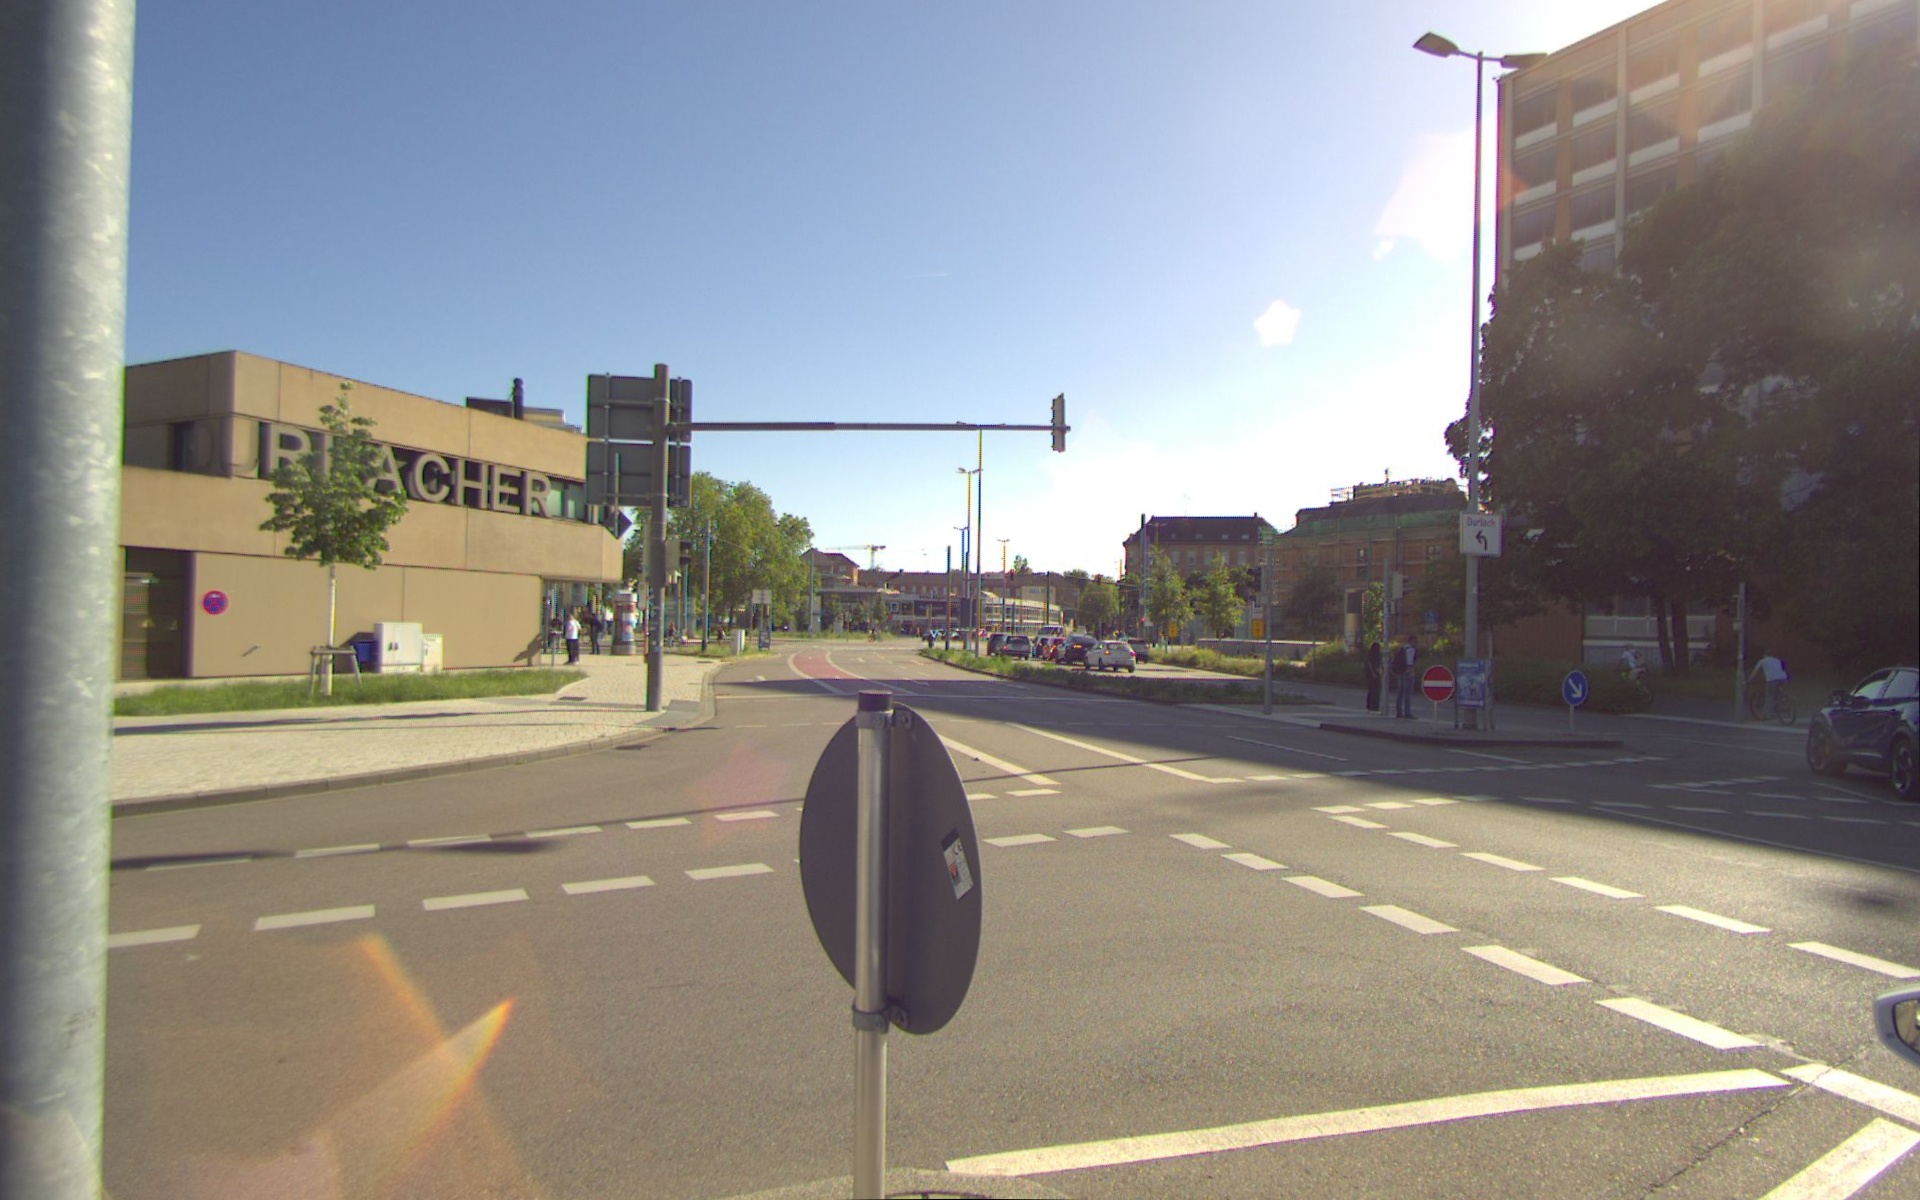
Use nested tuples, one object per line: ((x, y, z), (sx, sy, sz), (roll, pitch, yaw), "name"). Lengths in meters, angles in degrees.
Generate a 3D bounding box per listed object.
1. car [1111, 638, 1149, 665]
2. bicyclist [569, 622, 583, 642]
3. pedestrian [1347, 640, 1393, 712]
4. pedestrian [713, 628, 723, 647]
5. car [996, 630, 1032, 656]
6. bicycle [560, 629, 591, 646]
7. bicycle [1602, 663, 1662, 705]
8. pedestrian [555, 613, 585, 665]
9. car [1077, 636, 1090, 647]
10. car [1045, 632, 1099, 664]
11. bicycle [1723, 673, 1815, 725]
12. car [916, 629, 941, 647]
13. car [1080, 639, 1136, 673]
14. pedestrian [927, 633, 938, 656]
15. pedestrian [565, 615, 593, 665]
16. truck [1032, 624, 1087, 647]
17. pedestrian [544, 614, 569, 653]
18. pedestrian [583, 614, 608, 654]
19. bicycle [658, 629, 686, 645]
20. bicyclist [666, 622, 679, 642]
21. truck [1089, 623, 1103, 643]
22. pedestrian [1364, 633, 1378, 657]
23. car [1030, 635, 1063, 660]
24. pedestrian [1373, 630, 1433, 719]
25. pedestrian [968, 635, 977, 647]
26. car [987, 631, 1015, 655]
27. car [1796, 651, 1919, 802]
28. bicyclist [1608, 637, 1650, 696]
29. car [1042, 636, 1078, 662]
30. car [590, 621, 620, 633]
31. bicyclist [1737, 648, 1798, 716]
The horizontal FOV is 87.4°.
((11.455, 3.453, 67.829), (1.846, 1.638, 3.625), (3, -2, -1), "car")
((-27.944, 2.330, 73.039), (0.762, 1.463, 0.643), (2, -2, -5), "bicyclist")
((9.508, 1.754, 23.300), (0.671, 1.633, 0.717), (2, -2, -17), "pedestrian")
((-19.114, 2.961, 79.336), (0.586, 1.427, 0.566), (2, 1, -22), "pedestrian")
((3.219, 2.563, 60.611), (1.698, 1.461, 3.797), (2, -2, -4), "car")
((-27.935, 2.709, 73.025), (1.920, 1.180, 0.643), (2, -2, -5), "bicycle")
((20.820, 2.580, 31.166), (0.733, 1.180, 1.871), (1, -1, 5), "bicycle")
((-13.494, 1.359, 34.760), (0.777, 1.745, 0.594), (-1, -4, 37), "pedestrian")
((21.553, 7.201, 175.053), (1.750, 1.565, 3.642), (2, 1, 12), "car")
((6.127, 2.626, 55.481), (1.953, 1.645, 4.373), (2, -2, -7), "car")
((20.440, 2.482, 25.430), (0.705, 1.180, 1.868), (1, -1, -7), "bicycle")
((-4.027, 4.823, 129.100), (1.960, 2.040, 4.001), (2, 1, 16), "car")
((7.062, 2.668, 48.315), (1.665, 1.454, 3.732), (2, -2, -8), "car")
((-2.027, 3.259, 74.050), (0.567, 1.632, 0.564), (2, 1, -31), "pedestrian")
((-13.602, 1.419, 35.864), (0.631, 1.745, 0.749), (2, -3, -3), "pedestrian")
((11.033, 3.914, 110.412), (2.191, 2.344, 6.841), (0, -2, 44), "truck")
((-18.364, 1.530, 45.727), (0.777, 1.745, 0.645), (-1, -4, 37), "pedestrian")
((-16.588, 1.541, 45.657), (0.777, 1.765, 0.645), (2, -3, 37), "pedestrian")
((-21.587, 2.776, 75.325), (1.920, 1.180, 0.643), (2, -2, -5), "bicycle")
((-21.572, 2.390, 75.338), (0.762, 1.463, 0.643), (2, -2, -4), "bicyclist")
((27.966, 6.712, 206.103), (2.549, 3.723, 5.228), (2, 1, 10), "truck")
((32.071, 3.512, 78.419), (0.779, 1.776, 0.535), (2, 1, -27), "pedestrian")
((5.828, 3.189, 67.934), (1.697, 1.461, 3.798), (4, -2, -2), "car")
((9.667, 1.619, 21.905), (1.086, 1.857, 0.748), (4, -2, -39), "pedestrian")
((1.525, 5.028, 122.447), (0.856, 1.427, 0.687), (2, 1, -33), "pedestrian")
((2.742, 2.879, 67.347), (1.696, 1.461, 3.911), (4, -2, 1), "car")
((12.087, 1.512, 12.333), (1.847, 1.638, 3.796), (1, -3, 25), "car")
((20.836, 2.065, 31.286), (0.707, 1.786, 0.978), (1, -1, 5), "bicyclist")
((6.086, 2.978, 61.513), (1.645, 1.461, 3.721), (4, -2, -2), "car")
((-42.517, 3.246, 120.248), (3.227, 1.334, 1.517), (2, 1, -24), "car")
((20.455, 2.058, 25.453), (0.709, 1.638, 0.976), (1, -1, -8), "bicyclist")
